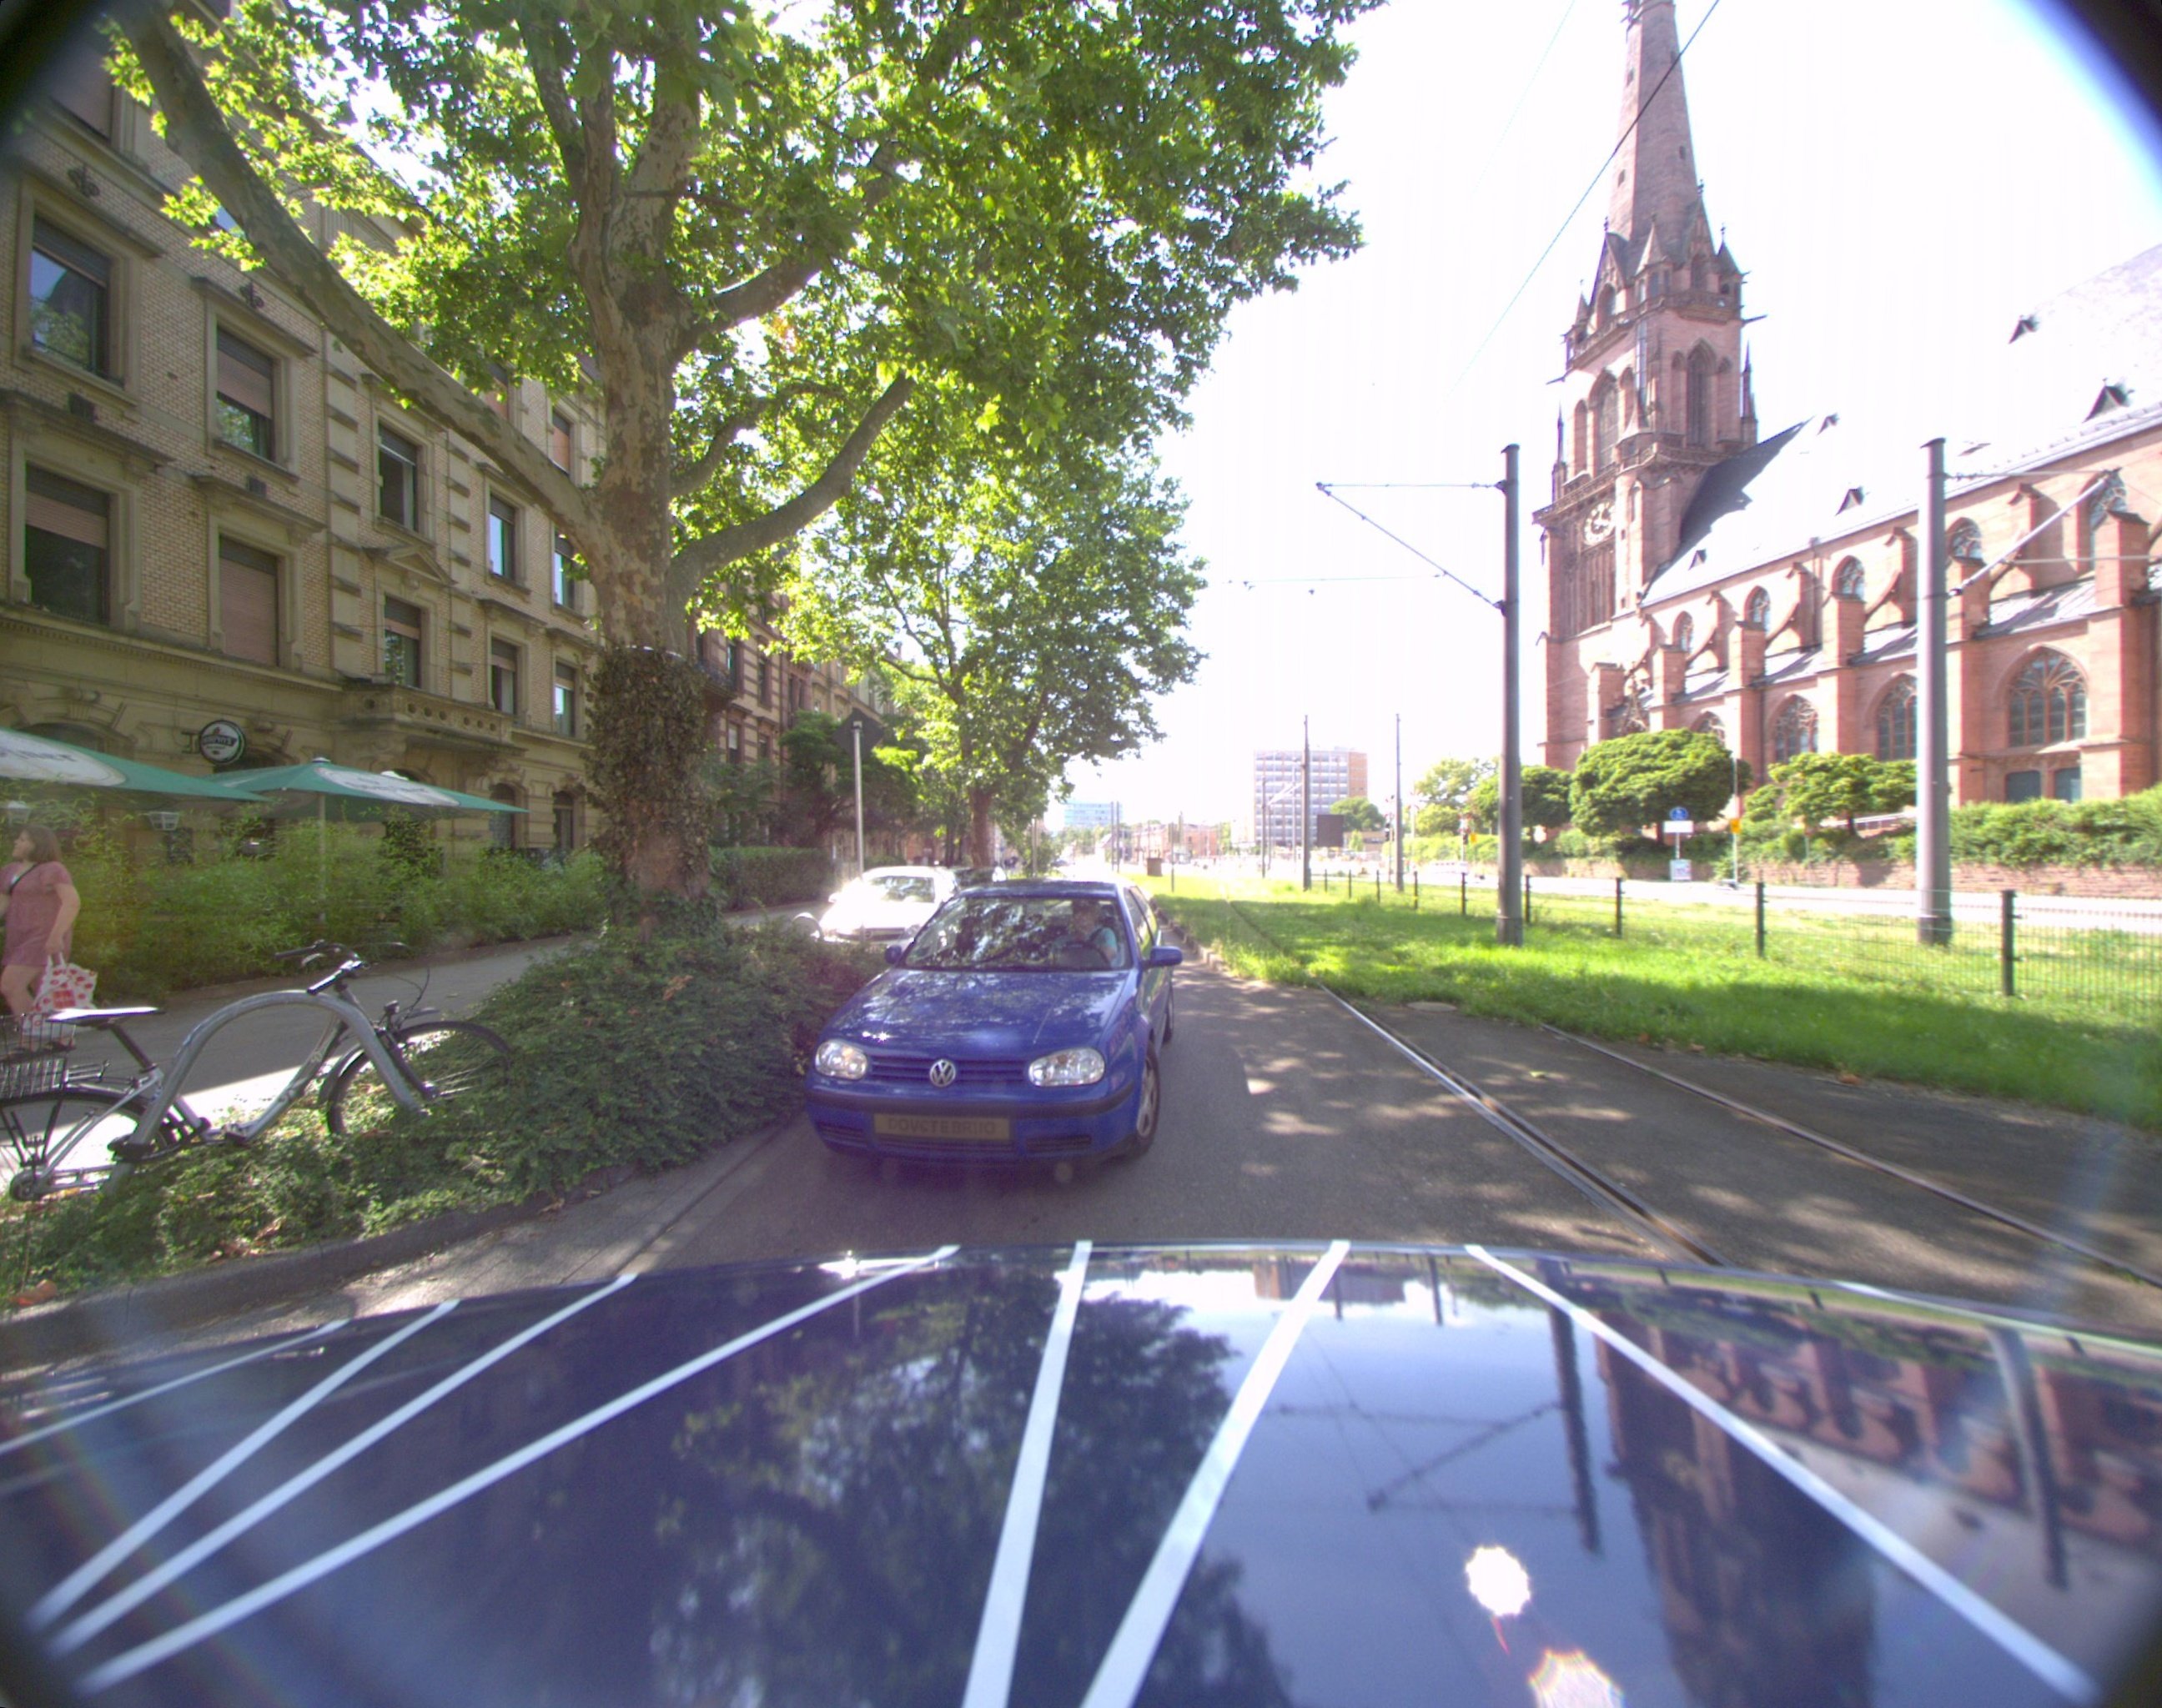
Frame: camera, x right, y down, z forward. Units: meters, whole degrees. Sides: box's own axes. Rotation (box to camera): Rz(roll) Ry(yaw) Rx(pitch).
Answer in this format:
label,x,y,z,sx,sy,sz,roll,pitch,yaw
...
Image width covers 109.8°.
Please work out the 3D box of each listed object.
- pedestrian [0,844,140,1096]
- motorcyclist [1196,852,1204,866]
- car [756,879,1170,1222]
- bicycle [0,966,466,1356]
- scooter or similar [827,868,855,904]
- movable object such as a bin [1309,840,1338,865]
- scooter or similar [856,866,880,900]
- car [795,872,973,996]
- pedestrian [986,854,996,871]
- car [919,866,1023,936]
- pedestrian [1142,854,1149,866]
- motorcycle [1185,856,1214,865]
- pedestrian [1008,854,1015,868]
label,x,y,z,sx,sy,sz,roll,pitch,yaw
pedestrian,-7.983,0.816,5.710,0.738,1.775,0.852,1,0,0
motorcyclist,16.487,0.674,105.281,1.106,1.919,1.335,-1,0,13
car,-0.332,0.949,5.521,1.885,1.401,4.095,-1,0,7
bicycle,-3.524,1.111,3.016,0.421,1.099,1.620,0,0,31
scooter or similar,-8.483,1.111,26.875,0.583,1.240,1.145,0,0,1
movable object such as a bin,37.621,-0.251,117.888,3.341,3.859,2.932,0,0,-33
scooter or similar,-8.286,1.128,29.596,0.583,1.275,1.145,0,0,3
car,-2.867,1.086,12.094,1.838,1.499,4.491,0,0,-3
pedestrian,-9.089,0.887,76.794,0.797,1.708,0.968,-1,0,0
car,-2.632,1.077,19.251,1.838,1.499,4.643,0,0,1
pedestrian,8.624,0.787,101.388,0.850,1.644,1.128,-1,0,1
motorcycle,16.398,0.901,105.276,3.930,1.331,1.246,-1,0,13
pedestrian,-8.740,0.883,95.714,0.797,1.708,0.968,-1,0,0
